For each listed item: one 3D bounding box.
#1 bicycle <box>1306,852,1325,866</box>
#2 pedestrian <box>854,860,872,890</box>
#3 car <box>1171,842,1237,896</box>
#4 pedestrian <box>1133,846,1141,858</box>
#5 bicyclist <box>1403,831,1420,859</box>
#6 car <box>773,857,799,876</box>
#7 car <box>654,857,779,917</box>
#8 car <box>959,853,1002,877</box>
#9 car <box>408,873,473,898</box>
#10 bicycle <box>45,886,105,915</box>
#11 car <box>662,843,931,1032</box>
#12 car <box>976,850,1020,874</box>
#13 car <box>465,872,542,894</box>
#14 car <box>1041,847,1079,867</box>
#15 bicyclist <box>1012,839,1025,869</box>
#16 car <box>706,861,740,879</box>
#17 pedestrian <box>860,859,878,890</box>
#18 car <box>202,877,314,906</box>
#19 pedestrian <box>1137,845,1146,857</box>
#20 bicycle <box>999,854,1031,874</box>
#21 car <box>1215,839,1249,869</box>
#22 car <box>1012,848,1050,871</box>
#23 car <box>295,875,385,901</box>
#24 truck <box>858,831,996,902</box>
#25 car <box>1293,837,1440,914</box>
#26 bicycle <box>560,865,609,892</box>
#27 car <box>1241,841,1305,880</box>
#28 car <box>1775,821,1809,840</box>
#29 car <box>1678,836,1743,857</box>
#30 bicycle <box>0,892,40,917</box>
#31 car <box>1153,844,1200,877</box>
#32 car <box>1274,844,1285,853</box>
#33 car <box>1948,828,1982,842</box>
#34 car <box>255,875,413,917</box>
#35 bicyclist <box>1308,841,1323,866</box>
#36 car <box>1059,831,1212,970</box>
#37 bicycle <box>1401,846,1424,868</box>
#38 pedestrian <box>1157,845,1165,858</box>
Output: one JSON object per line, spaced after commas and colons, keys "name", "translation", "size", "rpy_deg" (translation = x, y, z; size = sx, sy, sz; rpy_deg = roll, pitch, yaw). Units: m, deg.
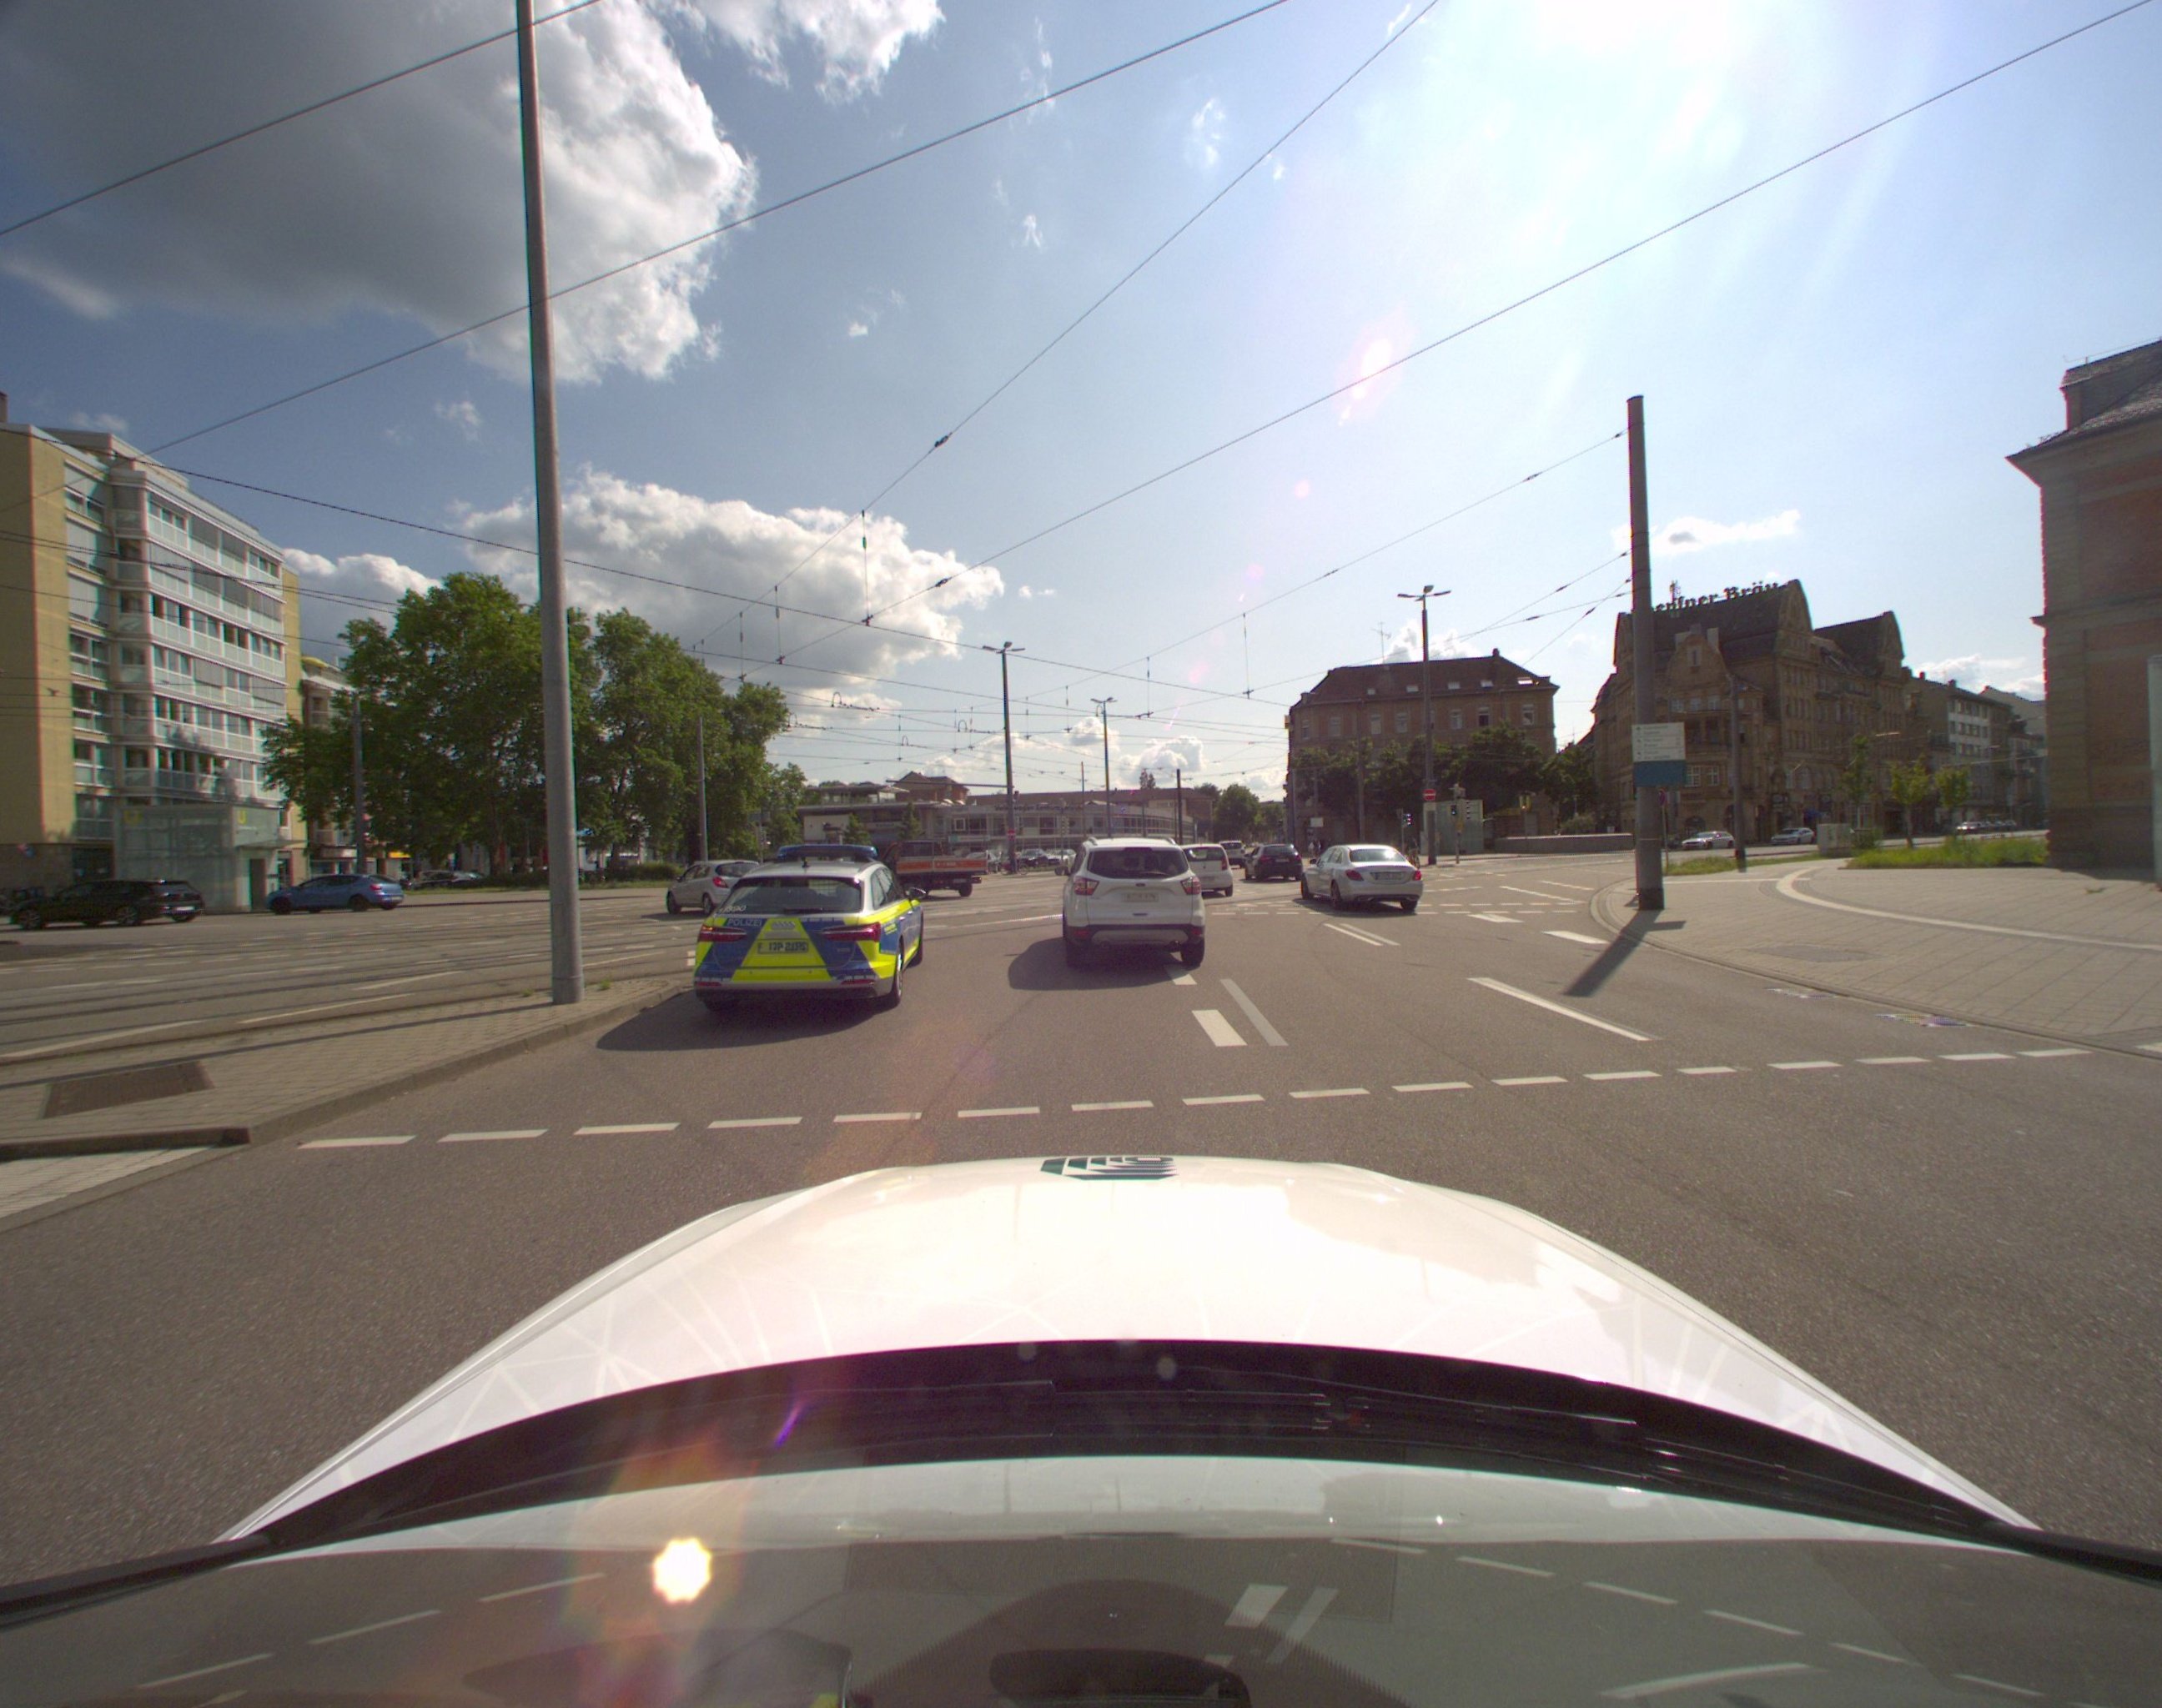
{"name": "bicycle", "translation": [14.104, 0.283, 49.009], "size": [0.583, 0.775, 1.619], "rpy_deg": [-2, 0, -3]}
{"name": "pedestrian", "translation": [-12.905, 1.220, 48.215], "size": [0.929, 1.744, 0.584], "rpy_deg": [0, -1, -29]}
{"name": "car", "translation": [3.566, 0.390, 24.177], "size": [1.641, 1.422, 4.006], "rpy_deg": [-2, 0, 5]}
{"name": "pedestrian", "translation": [7.784, -0.275, 113.389], "size": [0.867, 1.737, 0.882], "rpy_deg": [-1, -1, 31]}
{"name": "bicyclist", "translation": [15.413, -0.430, 38.007], "size": [0.629, 1.220, 0.928], "rpy_deg": [-4, 2, 19]}
{"name": "car", "translation": [-33.919, 1.460, 93.758], "size": [1.993, 2.013, 4.217], "rpy_deg": [-3, -1, -9]}
{"name": "car", "translation": [-10.275, 0.874, 22.840], "size": [3.950, 1.474, 1.865], "rpy_deg": [-2, 0, 45]}
{"name": "car", "translation": [-6.489, 0.717, 52.888], "size": [1.727, 1.373, 3.651], "rpy_deg": [-3, 0, 9]}
{"name": "car", "translation": [-41.389, 2.017, 52.743], "size": [1.910, 1.413, 3.977], "rpy_deg": [-2, -1, -17]}
{"name": "bicycle", "translation": [-48.744, 2.253, 39.503], "size": [0.794, 1.258, 1.804], "rpy_deg": [-2, 0, -8]}
{"name": "car", "translation": [-2.863, 0.702, 9.329], "size": [1.878, 1.568, 4.605], "rpy_deg": [-1, 0, -6]}
{"name": "car", "translation": [-6.146, 0.558, 60.570], "size": [1.723, 1.573, 4.019], "rpy_deg": [-3, 0, 18]}
{"name": "car", "translation": [-39.718, 1.991, 56.052], "size": [3.984, 1.327, 1.629], "rpy_deg": [-3, -1, -7]}
{"name": "car", "translation": [-1.700, 0.214, 66.810], "size": [1.884, 1.461, 3.987], "rpy_deg": [-3, 0, 17]}
{"name": "bicyclist", "translation": [-3.702, 0.003, 48.284], "size": [0.657, 1.738, 0.640], "rpy_deg": [-1, 0, 2]}
{"name": "car", "translation": [-41.277, 1.861, 94.104], "size": [1.965, 1.937, 5.058], "rpy_deg": [-3, -1, -5]}
{"name": "pedestrian", "translation": [-12.422, 1.194, 47.669], "size": [0.929, 1.744, 0.584], "rpy_deg": [0, -1, -29]}
{"name": "car", "translation": [-45.476, 2.062, 45.119], "size": [4.001, 1.398, 1.661], "rpy_deg": [-2, -1, -21]}
{"name": "pedestrian", "translation": [8.349, -0.392, 112.530], "size": [0.867, 1.737, 0.882], "rpy_deg": [-1, -1, 31]}
{"name": "bicycle", "translation": [-3.890, 0.584, 48.275], "size": [1.771, 1.125, 0.640], "rpy_deg": [-1, 0, 2]}
{"name": "car", "translation": [8.990, 0.005, 48.718], "size": [1.826, 1.652, 4.010], "rpy_deg": [-1, 0, 9]}
{"name": "car", "translation": [-3.661, 0.377, 60.168], "size": [1.677, 1.461, 3.983], "rpy_deg": [-3, 0, 13]}
{"name": "car", "translation": [-49.348, 2.251, 54.319], "size": [4.001, 1.495, 1.791], "rpy_deg": [-2, 0, -20]}
{"name": "truck", "translation": [-5.471, 0.419, 28.177], "size": [2.357, 2.155, 5.787], "rpy_deg": [-2, 0, -36]}
{"name": "car", "translation": [6.592, 0.399, 19.419], "size": [1.923, 1.455, 4.762], "rpy_deg": [-2, 2, 2]}
{"name": "bicycle", "translation": [-27.727, 1.354, 45.502], "size": [2.175, 1.414, 0.807], "rpy_deg": [-1, 0, -21]}
{"name": "car", "translation": [7.385, 0.227, 31.716], "size": [1.692, 1.372, 4.136], "rpy_deg": [-2, 0, 3]}
{"name": "car", "translation": [60.206, -2.026, 68.939], "size": [1.967, 1.483, 4.024], "rpy_deg": [-1, 1, 45]}
{"name": "car", "translation": [48.929, -0.613, 63.304], "size": [4.545, 1.430, 2.030], "rpy_deg": [-2, -1, -24]}
{"name": "bicycle", "translation": [-49.599, 2.339, 37.523], "size": [1.812, 1.104, 0.790], "rpy_deg": [-2, 0, -24]}
{"name": "car", "translation": [4.359, 0.294, 37.651], "size": [1.843, 1.419, 3.680], "rpy_deg": [-1, 0, 2]}
{"name": "car", "translation": [35.394, -0.977, 145.376], "size": [1.823, 1.652, 4.016], "rpy_deg": [-1, -1, 15]}
{"name": "car", "translation": [99.511, -2.137, 91.661], "size": [4.015, 1.420, 1.875], "rpy_deg": [-1, 0, -33]}
{"name": "car", "translation": [-27.638, 1.537, 30.271], "size": [3.986, 1.376, 1.737], "rpy_deg": [-1, 0, -10]}
{"name": "bicyclist", "translation": [14.120, -0.021, 48.976], "size": [0.607, 1.451, 0.773], "rpy_deg": [-2, 0, -3]}
{"name": "car", "translation": [0.619, 0.543, 11.942], "size": [1.823, 1.663, 3.952], "rpy_deg": [-1, 1, -2]}
{"name": "bicycle", "translation": [15.393, 0.132, 37.828], "size": [0.840, 0.970, 1.970], "rpy_deg": [-3, 0, 19]}
{"name": "pedestrian", "translation": [11.625, -0.344, 118.762], "size": [0.867, 1.922, 0.881], "rpy_deg": [-1, -1, 28]}
